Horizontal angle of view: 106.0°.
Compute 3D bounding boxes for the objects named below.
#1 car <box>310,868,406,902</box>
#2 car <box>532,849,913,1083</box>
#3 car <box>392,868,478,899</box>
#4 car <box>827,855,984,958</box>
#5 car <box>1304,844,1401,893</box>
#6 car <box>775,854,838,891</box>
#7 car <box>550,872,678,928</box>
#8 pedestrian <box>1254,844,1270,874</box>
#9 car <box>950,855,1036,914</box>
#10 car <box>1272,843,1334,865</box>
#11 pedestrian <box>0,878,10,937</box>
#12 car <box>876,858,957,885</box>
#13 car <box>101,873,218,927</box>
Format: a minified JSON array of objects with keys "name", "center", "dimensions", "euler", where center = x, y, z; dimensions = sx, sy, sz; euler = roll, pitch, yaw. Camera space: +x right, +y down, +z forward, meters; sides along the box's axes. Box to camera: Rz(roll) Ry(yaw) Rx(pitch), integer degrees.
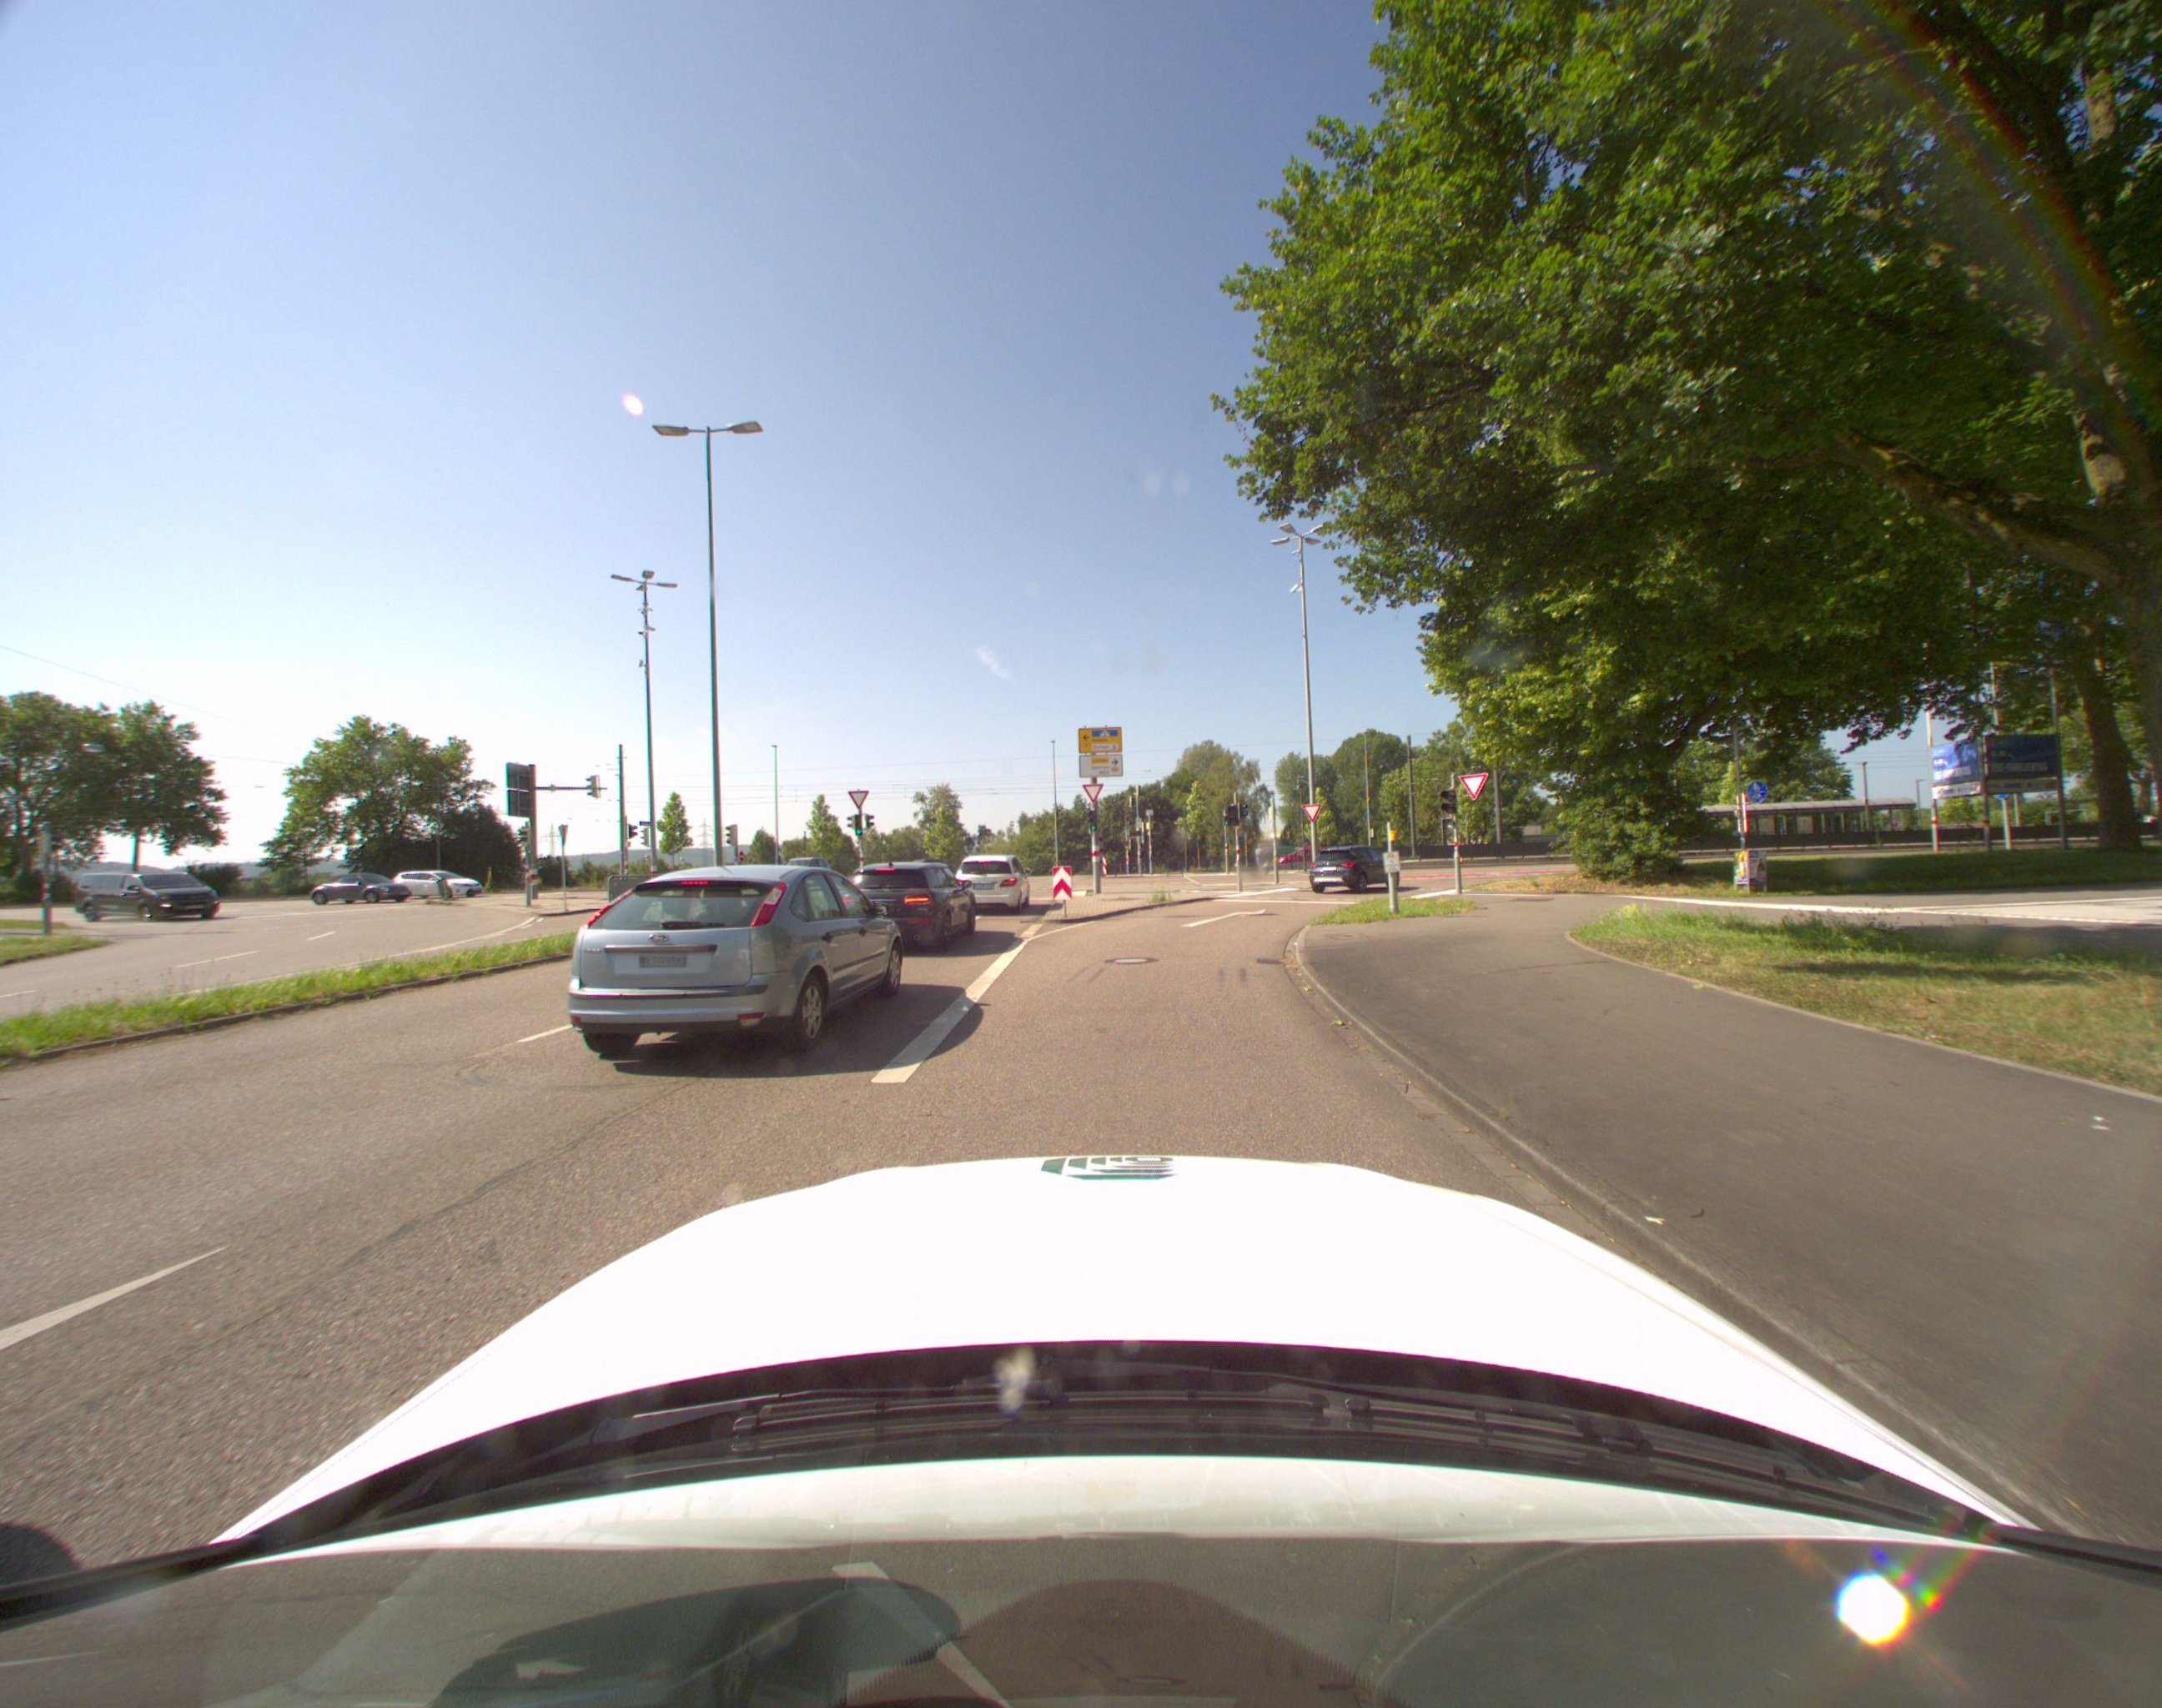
[{"name":"car","center":[-35.312,1.512,39.804],"dimensions":[3.376,1.500,1.409],"euler":[-2,-2,-1]},{"name":"car","center":[-2.901,0.780,7.704],"dimensions":[1.700,1.573,4.174],"euler":[-1,0,0]},{"name":"car","center":[-34.118,1.542,43.045],"dimensions":[3.335,1.500,1.408],"euler":[-2,-2,-3]},{"name":"car","center":[-2.962,0.809,14.677],"dimensions":[1.731,1.511,4.202],"euler":[-3,0,2]},{"name":"car","center":[9.139,0.461,27.313],"dimensions":[3.396,1.523,1.655],"euler":[-1,-1,-44]},{"name":"car","center":[-13.608,0.880,40.638],"dimensions":[1.621,1.624,3.919],"euler":[-2,1,2]},{"name":"car","center":[-9.741,0.926,17.152],"dimensions":[1.112,1.004,2.494],"euler":[-3,0,3]},{"name":"pedestrian","center":[9.299,0.242,41.850],"dimensions":[0.767,1.510,1.011],"euler":[-3,1,13]},{"name":"car","center":[-2.325,0.763,22.655],"dimensions":[1.735,1.448,4.390],"euler":[-2,0,2]},{"name":"car","center":[16.056,-0.016,58.926],"dimensions":[3.975,1.445,1.746],"euler":[-2,0,-1]},{"name":"pedestrian","center":[-31.538,1.566,23.210],"dimensions":[0.834,1.707,0.909],"euler":[-3,0,13]},{"name":"car","center":[-10.910,1.147,54.268],"dimensions":[4.839,1.503,2.041],"euler":[-2,0,-40]},{"name":"car","center":[-35.984,1.738,31.817],"dimensions":[3.952,1.925,1.827],"euler":[-1,1,23]}]
